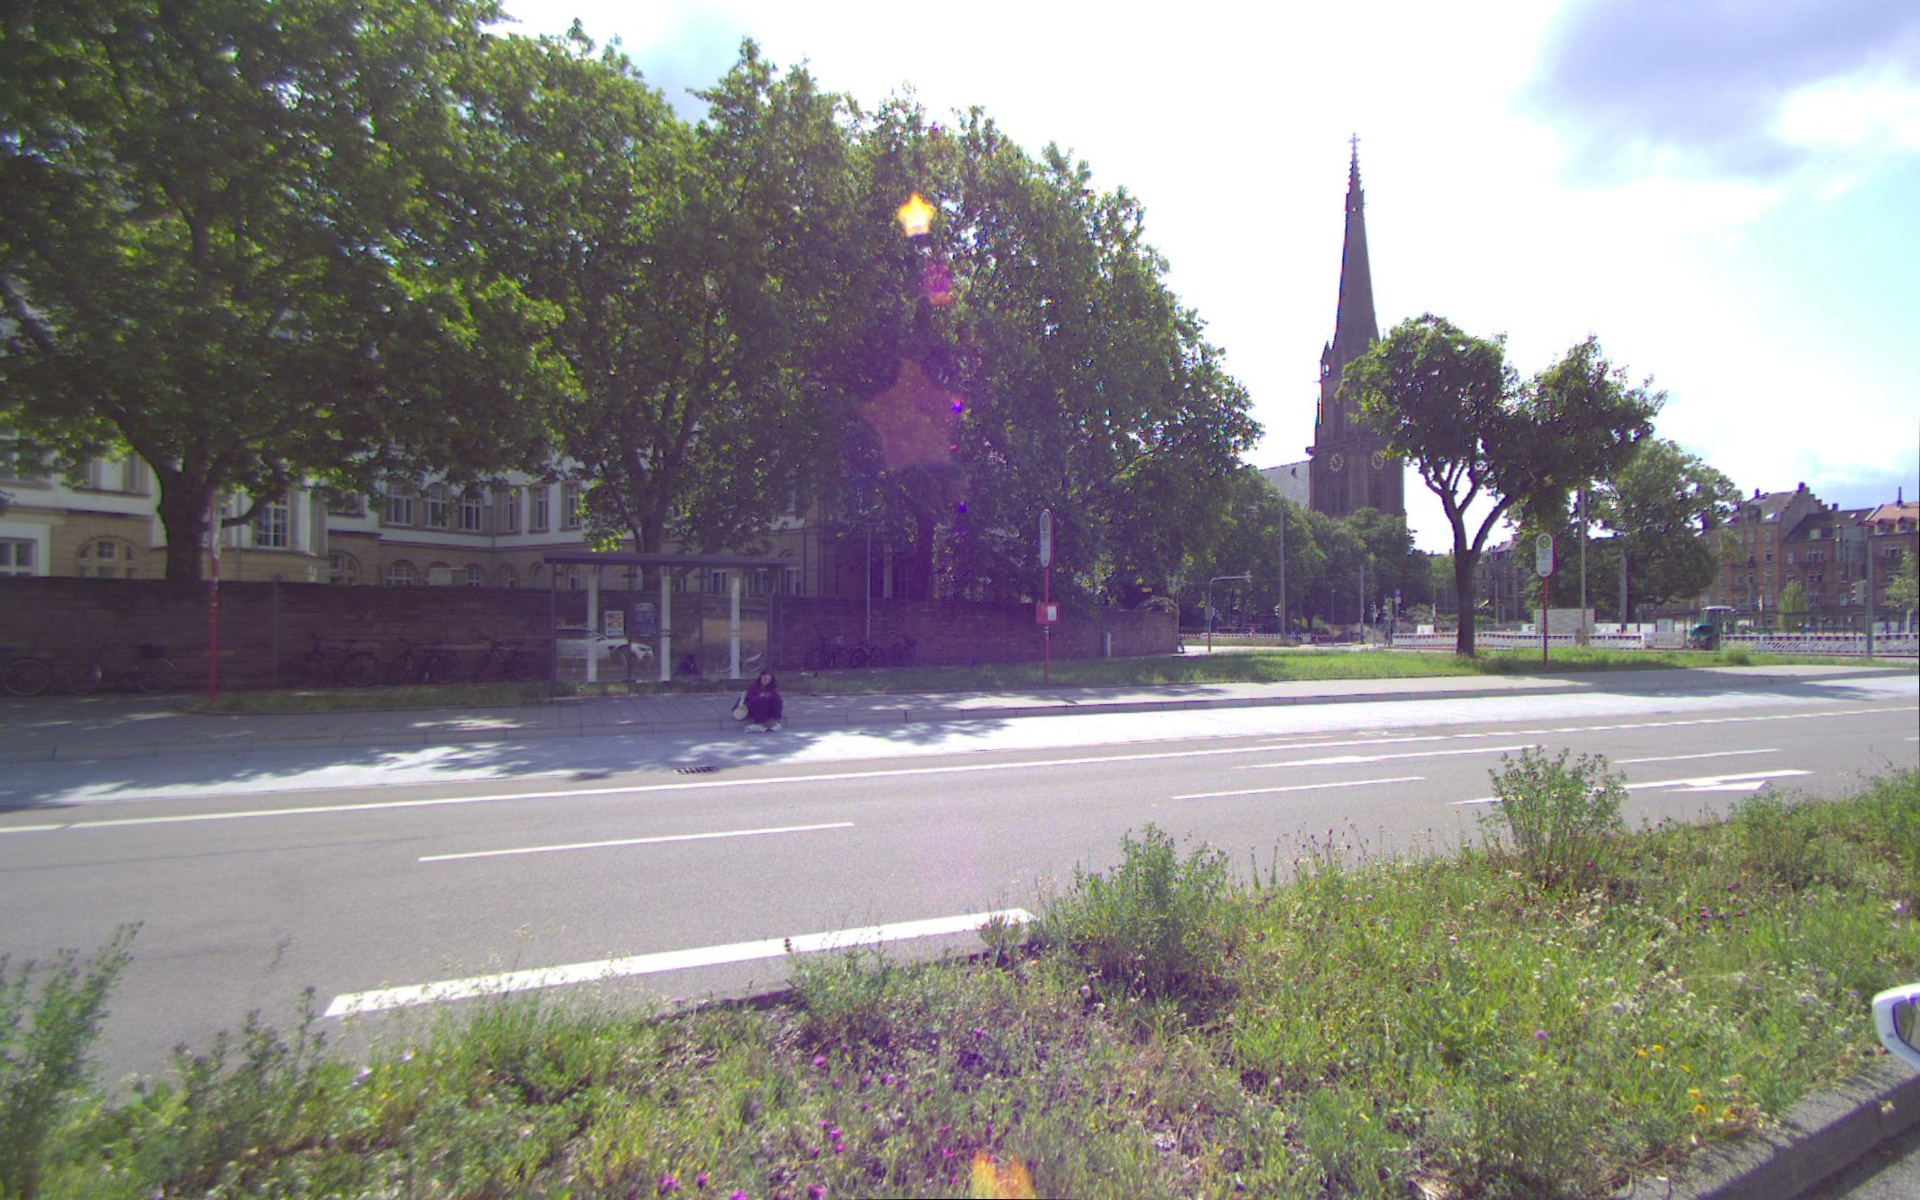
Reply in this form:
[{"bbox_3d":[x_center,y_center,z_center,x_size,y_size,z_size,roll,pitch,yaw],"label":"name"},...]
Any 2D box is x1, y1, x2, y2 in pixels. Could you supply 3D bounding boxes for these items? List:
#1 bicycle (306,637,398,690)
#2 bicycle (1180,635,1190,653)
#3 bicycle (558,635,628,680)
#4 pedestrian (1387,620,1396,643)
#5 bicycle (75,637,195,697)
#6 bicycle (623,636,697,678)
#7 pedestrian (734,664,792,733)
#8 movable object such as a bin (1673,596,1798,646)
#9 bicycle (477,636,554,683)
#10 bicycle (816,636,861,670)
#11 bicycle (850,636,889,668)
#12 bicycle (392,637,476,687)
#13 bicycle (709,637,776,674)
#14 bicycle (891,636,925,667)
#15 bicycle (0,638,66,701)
[{"bbox_3d":[-13.269,1.370,21.944,1.621,1.087,0.576,1,-1,-45],"label":"bicycle"},{"bbox_3d":[12.812,2.476,57.258,0.386,1.005,1.523,0,-2,20],"label":"bicycle"},{"bbox_3d":[-9.415,1.466,25.808,1.621,1.087,0.576,1,-1,-45],"label":"bicycle"},{"bbox_3d":[34.915,2.569,81.293,0.491,1.874,0.527,1,-1,-15],"label":"pedestrian"},{"bbox_3d":[-15.920,1.273,19.410,1.744,1.087,0.576,1,-1,-45],"label":"bicycle"},{"bbox_3d":[-8.084,1.526,27.114,1.855,1.087,0.577,1,-1,-40],"label":"bicycle"},{"bbox_3d":[-2.999,1.476,15.244,0.732,0.975,0.692,1,-1,-24],"label":"pedestrian"},{"bbox_3d":[46.398,1.259,60.258,5.435,2.923,2.288,0,-2,22],"label":"movable object such as a bin"},{"bbox_3d":[-10.799,1.420,24.415,1.621,1.087,0.576,1,-1,-45],"label":"bicycle"},{"bbox_3d":[-3.865,1.673,31.957,1.446,1.024,0.466,1,-1,-44],"label":"bicycle"},{"bbox_3d":[-2.981,1.704,33.108,1.361,1.024,0.387,1,-1,-44],"label":"bicycle"},{"bbox_3d":[-12.084,1.400,23.100,1.621,1.087,0.576,1,-1,-45],"label":"bicycle"},{"bbox_3d":[-6.308,1.592,29.208,1.950,1.024,0.466,1,-1,-44],"label":"bicycle"},{"bbox_3d":[-1.791,1.759,34.414,1.246,1.024,0.349,1,-1,-44],"label":"bicycle"},{"bbox_3d":[-17.236,1.244,18.026,1.744,1.087,0.576,1,-1,-45],"label":"bicycle"}]
